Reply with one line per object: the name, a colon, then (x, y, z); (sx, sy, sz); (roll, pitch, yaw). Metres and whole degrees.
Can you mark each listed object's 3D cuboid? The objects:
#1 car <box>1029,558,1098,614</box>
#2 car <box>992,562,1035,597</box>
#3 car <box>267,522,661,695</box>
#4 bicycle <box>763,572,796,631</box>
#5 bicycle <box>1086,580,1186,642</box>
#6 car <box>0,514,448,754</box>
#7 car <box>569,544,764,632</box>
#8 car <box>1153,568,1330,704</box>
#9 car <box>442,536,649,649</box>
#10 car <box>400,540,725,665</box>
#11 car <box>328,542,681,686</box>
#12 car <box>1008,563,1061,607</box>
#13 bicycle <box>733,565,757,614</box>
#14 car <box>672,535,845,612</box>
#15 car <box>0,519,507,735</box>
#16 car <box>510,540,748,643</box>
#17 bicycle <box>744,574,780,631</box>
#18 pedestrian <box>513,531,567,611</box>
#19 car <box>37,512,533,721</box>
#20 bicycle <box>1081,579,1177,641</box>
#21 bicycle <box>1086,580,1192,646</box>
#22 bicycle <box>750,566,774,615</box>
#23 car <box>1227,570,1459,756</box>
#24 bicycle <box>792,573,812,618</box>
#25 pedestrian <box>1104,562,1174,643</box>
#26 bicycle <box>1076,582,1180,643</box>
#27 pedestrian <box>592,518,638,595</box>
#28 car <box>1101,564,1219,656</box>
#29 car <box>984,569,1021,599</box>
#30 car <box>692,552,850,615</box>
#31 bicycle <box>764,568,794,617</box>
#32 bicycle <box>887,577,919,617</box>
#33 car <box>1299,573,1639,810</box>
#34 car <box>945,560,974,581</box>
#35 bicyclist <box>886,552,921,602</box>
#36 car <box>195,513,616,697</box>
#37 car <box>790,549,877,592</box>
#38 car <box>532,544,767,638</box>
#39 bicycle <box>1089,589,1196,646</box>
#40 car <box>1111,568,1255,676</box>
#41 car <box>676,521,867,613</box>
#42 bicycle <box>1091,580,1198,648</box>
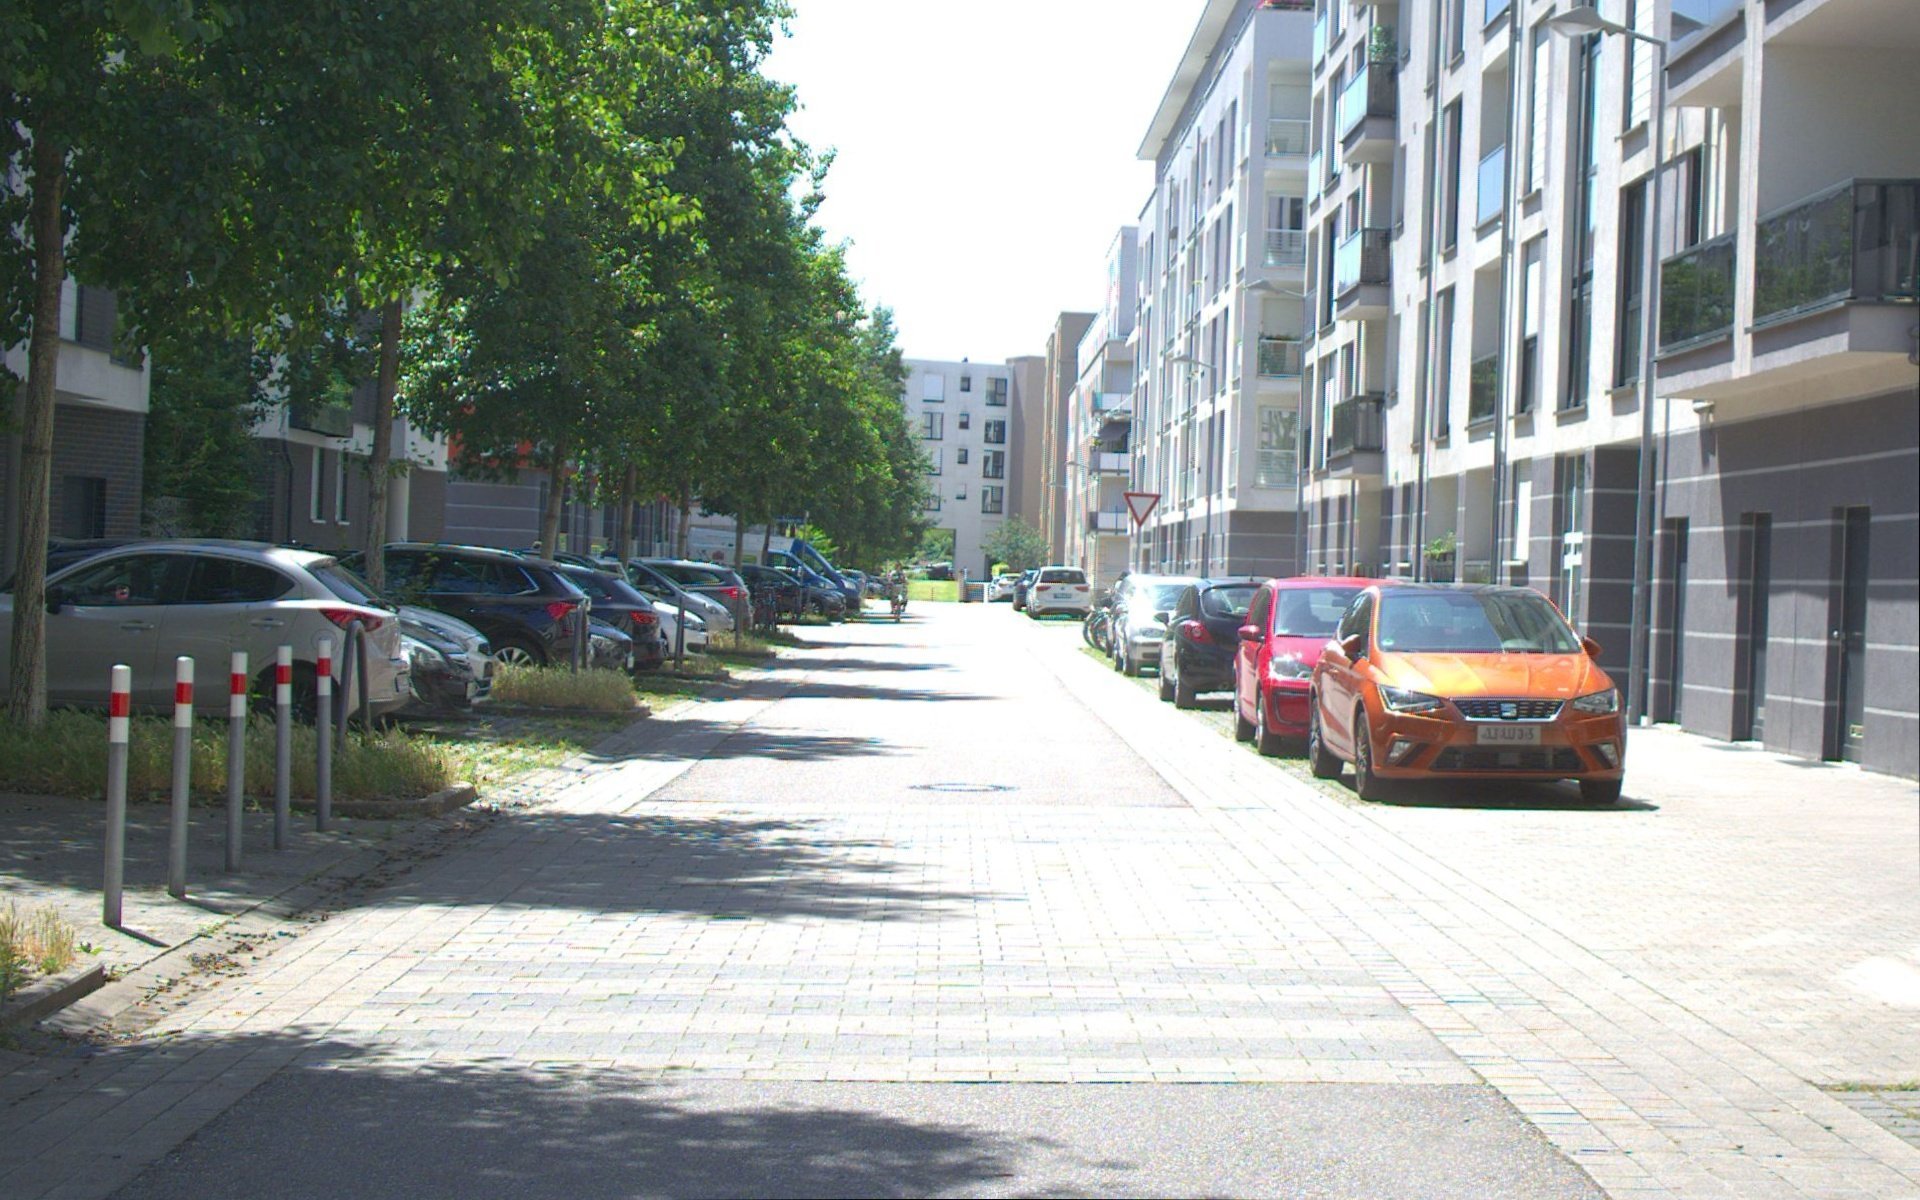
car: (3.184, -0.444, 106.600); (1.997, 1.651, 4.115); (1, 1, 0)
car: (2.734, -1.065, 175.267); (1.993, 1.669, 4.000); (2, 1, -1)
car: (-5.469, 0.083, 38.278); (3.987, 1.645, 1.918); (3, 1, 2)
bicycle: (-3.721, 0.025, 70.844); (0.371, 1.176, 1.821); (1, 1, -12)
bicycle: (3.356, 0.215, 65.490); (1.833, 1.144, 0.461); (1, 0, -19)
car: (-6.160, 0.194, 25.838); (4.252, 1.512, 1.925); (4, 1, 0)
car: (-5.812, -0.247, 68.335); (3.630, 1.515, 1.832); (3, 1, 0)
car: (3.173, 0.372, 39.450); (1.642, 1.457, 4.118); (0, 1, -1)
car: (-6.405, -0.123, 53.361); (2.932, 1.495, 1.848); (4, 1, -1)
car: (-5.488, 0.023, 47.939); (4.360, 1.704, 2.000); (0, 1, -2)
car: (-5.369, 0.161, 40.923); (3.974, 1.440, 1.776); (3, 0, -4)
car: (2.773, -0.559, 126.713); (1.758, 1.547, 4.000); (3, 1, 3)
bicycle: (-5.601, -0.273, 89.598); (0.518, 1.200, 1.752); (3, 2, -2)
car: (-6.222, -0.826, 106.646); (5.145, 2.112, 2.312); (3, 1, 0)
car: (-6.042, 0.196, 28.284); (4.316, 1.471, 1.793); (4, 1, 0)
car: (-5.787, -0.159, 60.521); (3.937, 1.548, 1.872); (3, 1, 0)
bicycle: (-4.083, 0.043, 70.818); (0.433, 1.124, 1.979); (1, 1, -12)
pedestrian: (-9.102, -0.626, 74.566); (1.000, 1.684, 0.832); (2, 0, 1)
car: (-5.992, 0.130, 30.844); (3.987, 1.586, 1.884); (3, 1, 1)
bicycle: (3.336, 0.199, 67.853); (1.860, 1.189, 0.687); (1, 0, 3)
bicycle: (3.370, 0.238, 64.906); (1.923, 1.213, 0.461); (1, 0, -9)
bicycle: (-5.136, -0.243, 89.342); (0.434, 1.200, 1.700); (4, 2, 1)
car: (3.244, 0.496, 29.681); (1.595, 1.480, 3.676); (0, 1, 0)
bicycle: (-4.115, -0.127, 89.550); (0.466, 1.138, 1.926); (2, 1, -2)
pedestrian: (3.376, 0.045, 65.032); (1.178, 1.509, 0.688); (1, 1, -9)
bicycle: (3.221, 0.235, 65.856); (1.924, 1.129, 0.609); (1, 0, 9)
pedestrian: (-9.200, -1.166, 91.794); (1.009, 2.007, 1.129); (2, 0, 3)
car: (3.406, 0.143, 59.156); (1.739, 1.480, 4.229); (1, 1, 0)
car: (2.499, -0.941, 202.499); (1.993, 1.711, 4.000); (2, 1, -1)
car: (-5.446, -0.480, 99.458); (4.383, 1.509, 2.075); (4, 1, 0)
bicycle: (-4.704, -0.198, 89.334); (0.570, 1.170, 1.769); (5, 2, -7)
bicycle: (-1.673, -0.100, 101.088); (0.898, 1.125, 2.040); (2, 1, -1)
car: (3.469, 0.570, 24.144); (1.737, 1.482, 4.258); (1, 1, 0)
car: (-0.055, -2.221, 258.696); (1.993, 1.514, 4.000); (2, 1, -1)
bicyclist: (-1.660, -0.678, 101.064); (0.954, 1.454, 0.800); (2, 0, -1)
car: (-5.707, 0.037, 35.753); (3.987, 1.624, 1.933); (3, 1, 0)
car: (-6.283, -1.475, 170.919); (3.988, 2.007, 1.999); (2, 1, 7)
car: (-5.700, -0.156, 63.416); (4.180, 1.481, 1.959); (3, -1, -3)
bicycle: (3.405, 0.320, 64.245); (1.923, 1.031, 0.559); (1, 0, -3)
car: (3.250, 0.287, 50.839); (1.834, 1.499, 4.350); (1, 1, 0)
car: (-6.102, -1.083, 112.075); (6.024, 2.807, 2.605); (1, 0, 0)
bicycle: (3.370, 0.255, 62.803); (1.869, 1.213, 0.715); (1, 0, -3)
